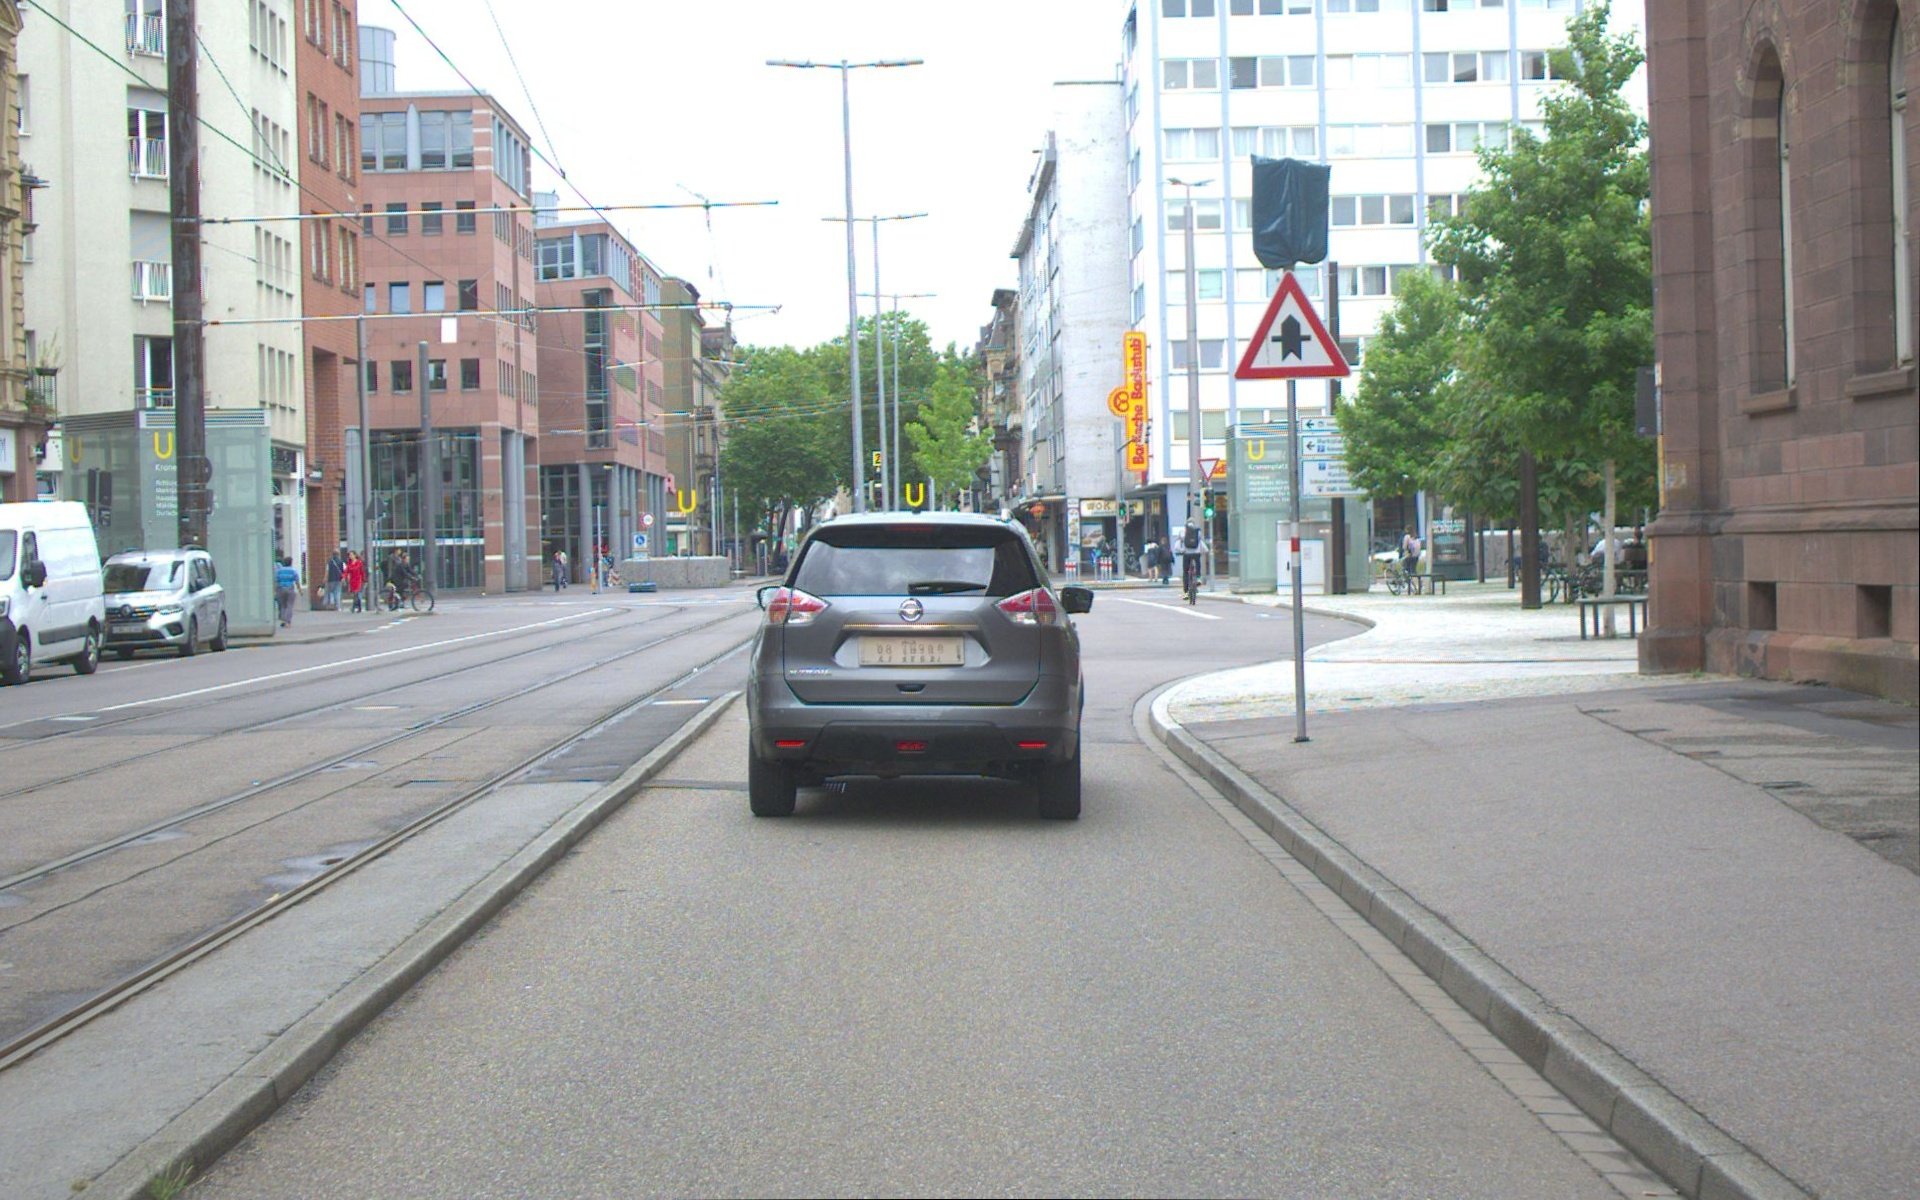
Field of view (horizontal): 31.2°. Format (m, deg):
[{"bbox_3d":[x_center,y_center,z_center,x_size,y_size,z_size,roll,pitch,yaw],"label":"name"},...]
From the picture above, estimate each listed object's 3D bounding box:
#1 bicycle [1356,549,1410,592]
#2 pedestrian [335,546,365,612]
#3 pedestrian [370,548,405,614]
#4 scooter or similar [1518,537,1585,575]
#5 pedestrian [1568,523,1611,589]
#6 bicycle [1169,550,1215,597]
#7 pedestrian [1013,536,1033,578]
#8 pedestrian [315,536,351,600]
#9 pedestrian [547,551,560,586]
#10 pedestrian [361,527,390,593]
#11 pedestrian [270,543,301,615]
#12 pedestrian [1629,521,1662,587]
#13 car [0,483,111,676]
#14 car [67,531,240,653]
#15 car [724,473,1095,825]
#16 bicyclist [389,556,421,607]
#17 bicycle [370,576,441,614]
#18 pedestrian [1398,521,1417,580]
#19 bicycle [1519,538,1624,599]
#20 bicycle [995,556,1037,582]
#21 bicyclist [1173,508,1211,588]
[{"bbox_3d":[10.073,-0.700,81.801,0.659,0.975,1.752,-1,1,28],"label":"bicycle"},{"bbox_3d":[-15.820,-0.536,89.123,0.720,1.681,0.662,-2,-1,-11],"label":"pedestrian"},{"bbox_3d":[-16.418,-0.549,98.568,0.896,1.883,0.799,0,0,-3],"label":"pedestrian"},{"bbox_3d":[15.913,-1.179,92.525,1.590,0.945,0.723,-3,1,38],"label":"scooter or similar"},{"bbox_3d":[13.108,-0.921,71.581,0.628,1.361,0.688,0,1,-19],"label":"pedestrian"},{"bbox_3d":[5.312,-0.607,78.853,0.902,1.041,3.277,-1,1,2],"label":"bicycle"},{"bbox_3d":[2.603,-1.779,141.624,0.732,1.740,0.663,0,0,-9],"label":"pedestrian"},{"bbox_3d":[-16.785,-0.854,92.034,0.868,1.681,0.662,-1,-1,-15],"label":"pedestrian"},{"bbox_3d":[-17.904,-1.371,151.318,0.449,1.527,0.522,0,1,-18],"label":"pedestrian"},{"bbox_3d":[-15.118,-1.024,88.925,0.660,1.681,0.723,-2,-1,-13],"label":"pedestrian"},{"bbox_3d":[-16.082,-0.498,81.949,0.660,1.681,0.723,-2,-1,-10],"label":"pedestrian"},{"bbox_3d":[14.324,-0.961,71.839,0.543,1.361,1.279,0,1,17],"label":"pedestrian"},{"bbox_3d":[-13.330,-0.240,47.044,2.052,2.478,5.666,-4,1,-2],"label":"car"},{"bbox_3d":[-13.409,-0.154,57.409,1.902,1.858,4.521,-3,1,-2],"label":"car"},{"bbox_3d":[-0.396,0.206,20.098,1.863,1.768,4.568,2,1,-3],"label":"car"},{"bbox_3d":[-15.460,-0.508,95.757,0.809,1.402,0.480,-2,0,-7],"label":"bicyclist"},{"bbox_3d":[-15.449,-0.139,95.768,1.905,1.017,0.481,-2,1,-8],"label":"bicycle"},{"bbox_3d":[11.945,-1.319,91.709,0.432,1.550,0.499,0,0,-1],"label":"pedestrian"},{"bbox_3d":[11.378,-0.580,64.006,1.915,1.119,0.645,0,1,10],"label":"bicycle"},{"bbox_3d":[2.304,-1.274,141.879,1.696,1.062,0.437,0,0,6],"label":"bicycle"},{"bbox_3d":[5.312,-1.190,78.738,0.834,1.806,0.877,0,1,2],"label":"bicyclist"}]
